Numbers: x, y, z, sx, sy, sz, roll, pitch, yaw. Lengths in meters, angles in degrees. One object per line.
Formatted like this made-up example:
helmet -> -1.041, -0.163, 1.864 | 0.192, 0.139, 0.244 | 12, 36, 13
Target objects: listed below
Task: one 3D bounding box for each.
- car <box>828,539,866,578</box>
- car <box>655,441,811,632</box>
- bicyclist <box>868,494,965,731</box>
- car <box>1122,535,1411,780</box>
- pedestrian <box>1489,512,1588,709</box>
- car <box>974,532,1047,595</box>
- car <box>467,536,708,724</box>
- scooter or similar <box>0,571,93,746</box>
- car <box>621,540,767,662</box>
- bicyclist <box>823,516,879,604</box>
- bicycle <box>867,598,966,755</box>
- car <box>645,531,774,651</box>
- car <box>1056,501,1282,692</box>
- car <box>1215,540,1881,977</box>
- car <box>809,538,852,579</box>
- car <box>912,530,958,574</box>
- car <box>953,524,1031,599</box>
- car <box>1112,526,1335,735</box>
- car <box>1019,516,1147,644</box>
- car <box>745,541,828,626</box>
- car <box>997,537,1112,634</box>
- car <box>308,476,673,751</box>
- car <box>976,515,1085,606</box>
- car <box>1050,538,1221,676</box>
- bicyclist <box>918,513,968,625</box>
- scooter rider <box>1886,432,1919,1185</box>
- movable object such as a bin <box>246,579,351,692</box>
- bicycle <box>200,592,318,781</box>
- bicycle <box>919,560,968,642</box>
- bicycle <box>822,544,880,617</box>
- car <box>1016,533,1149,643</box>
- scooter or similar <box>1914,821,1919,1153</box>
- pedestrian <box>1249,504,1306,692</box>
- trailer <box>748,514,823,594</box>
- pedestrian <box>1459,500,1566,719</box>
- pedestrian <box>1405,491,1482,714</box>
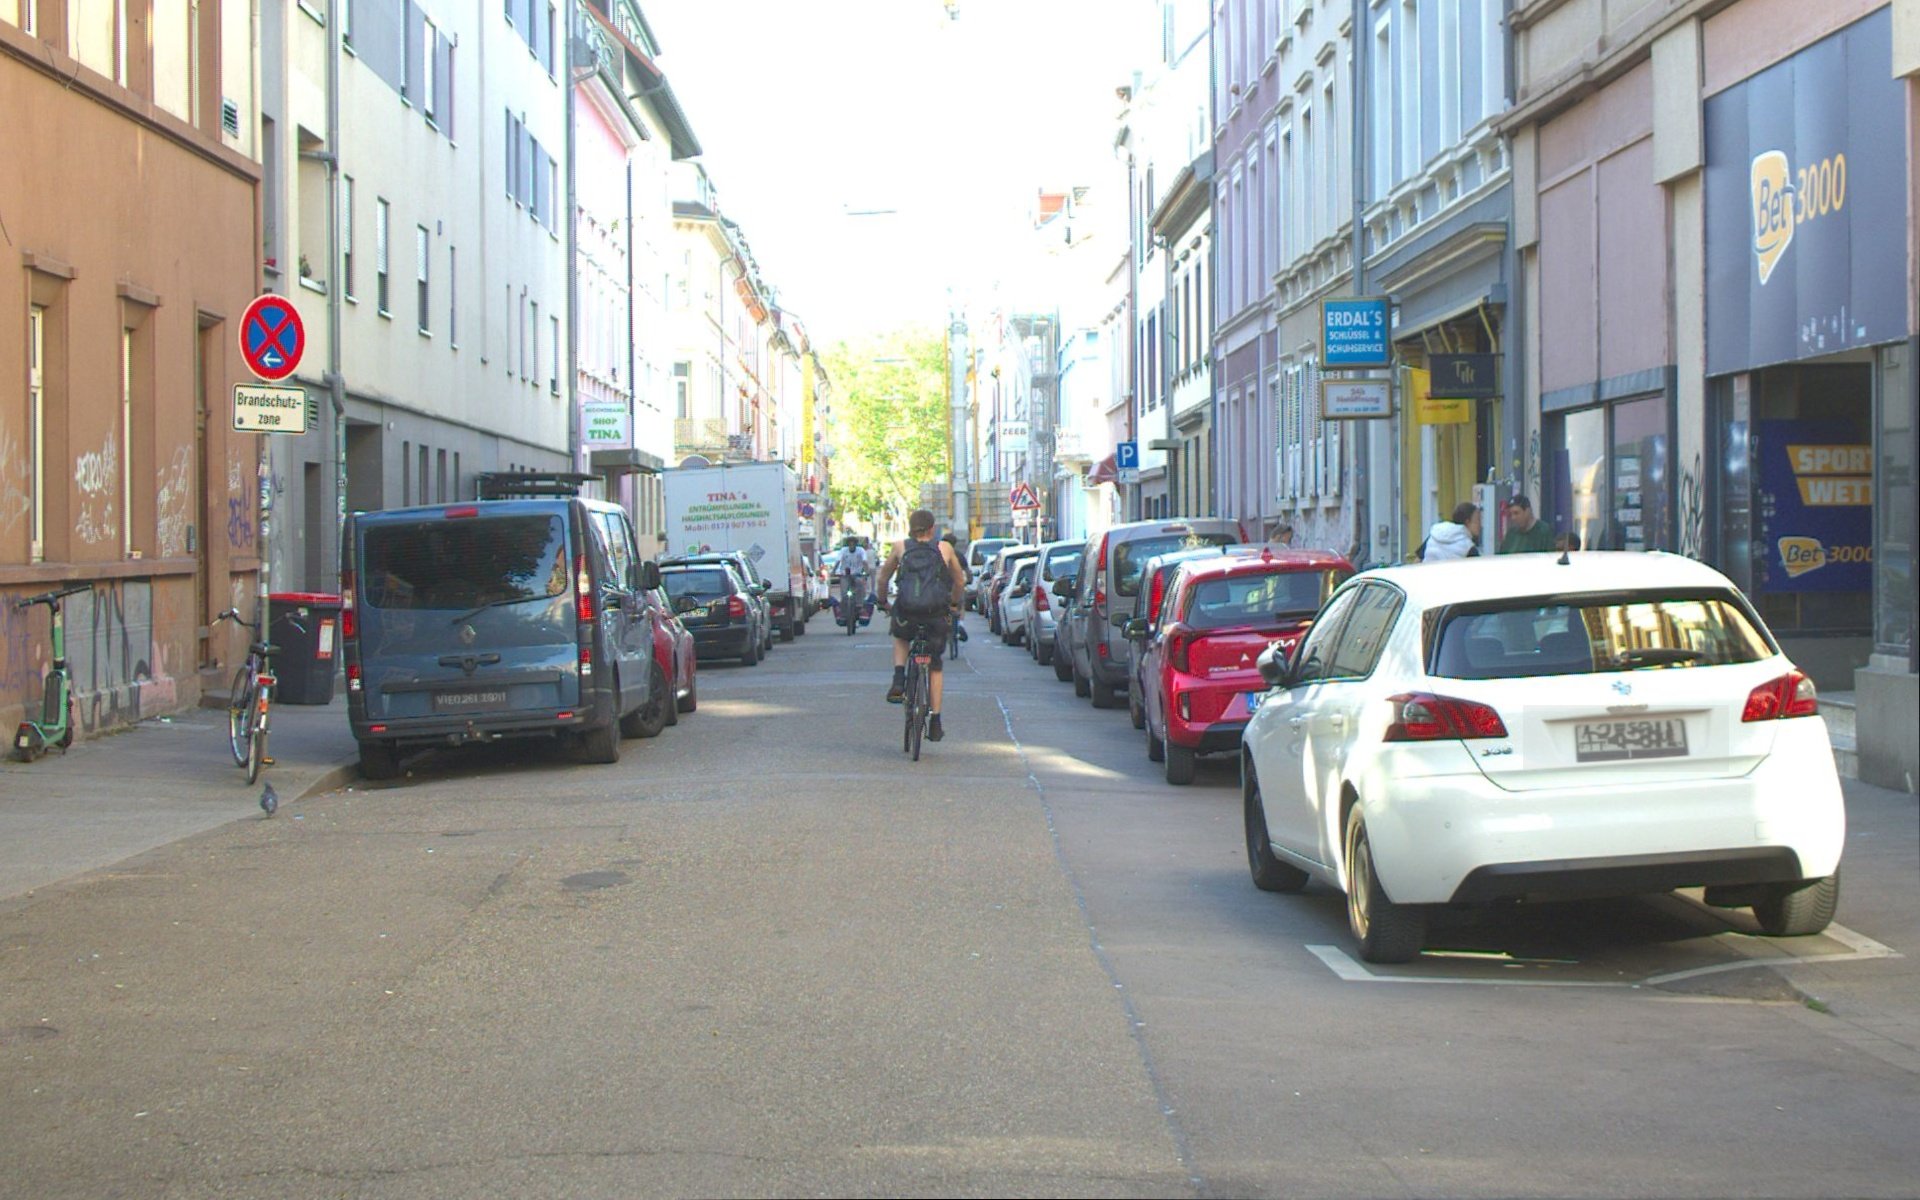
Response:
car -> -5.412, -1.974, 164.880 | 1.750, 1.815, 3.796 | -1, 0, -1
car -> -4.154, -1.153, 64.150 | 2.343, 3.280, 7.154 | -2, 1, 0
bicyclist -> -0.320, 0.086, 24.847 | 0.667, 1.671, 1.097 | 1, 0, -1
car -> 2.061, 0.358, 23.925 | 1.606, 1.567, 3.554 | 1, 0, -1
pedestrian -> 4.532, 0.082, 26.963 | 0.587, 1.524, 0.659 | 1, 0, -6
car -> 1.237, -0.900, 85.351 | 1.750, 1.481, 3.800 | -1, 0, 0
car -> -3.341, 0.245, 31.465 | 1.750, 1.517, 3.869 | -3, 0, -1
scooter or similar -> -6.531, 0.398, 24.568 | 0.347, 1.212, 1.392 | 1, 0, -1
car -> -3.645, -0.026, 47.698 | 1.716, 1.473, 4.499 | -3, 2, -1
bicyclist -> -2.079, -0.767, 65.603 | 0.950, 1.622, 0.953 | -2, 1, 1
bicycle -> -0.326, 0.533, 24.878 | 0.677, 1.071, 1.942 | 1, 0, -1
car -> -3.842, -0.180, 53.300 | 1.716, 1.644, 4.246 | -3, 2, -1
car -> 2.032, -0.051, 34.576 | 1.899, 1.787, 4.315 | 1, 0, -1
car -> 2.208, 0.538, 14.048 | 1.786, 1.511, 4.137 | 1, 0, -3
car -> -5.526, -1.765, 147.083 | 1.750, 1.678, 3.796 | -1, 0, -1
car -> -0.913, -1.711, 124.038 | 1.611, 1.555, 3.610 | 1, 0, -1
car -> 0.818, -1.007, 90.409 | 1.750, 1.872, 3.973 | -1, 0, -3
car -> 2.143, 0.224, 28.688 | 1.570, 1.551, 3.314 | -3, 0, 1
car -> 1.679, -0.289, 47.943 | 1.556, 1.706, 3.559 | 1, 0, -1
car -> -3.946, -0.388, 78.686 | 1.752, 1.810, 4.078 | -2, 0, -2
car -> 1.587, -0.259, 58.842 | 1.686, 1.538, 4.046 | -2, 1, -1
car -> -3.447, 0.032, 26.282 | 2.020, 1.873, 5.297 | 1, 1, 0
car -> 1.333, -0.788, 66.472 | 1.918, 1.700, 4.367 | 0, 1, -1
car -> 1.977, 0.067, 39.667 | 1.552, 1.506, 3.612 | 1, 0, -4
bicyclist -> -0.238, -0.439, 48.770 | 0.671, 1.562, 0.716 | 1, 0, -2
scooter rider -> 2.604, 0.494, 8.227 | 0.564, 1.772, 0.610 | 1, 0, 34
movable object such as a bin -> -6.384, 0.336, 33.202 | 0.759, 1.063, 0.651 | 1, 0, 19
bicycle -> -4.775, 0.561, 23.340 | 0.550, 1.212, 1.989 | 0, 0, -18
bicycle -> -0.245, 0.005, 48.796 | 0.648, 1.125, 2.136 | 1, 0, -1
bicycle -> -2.073, -0.382, 65.579 | 0.977, 1.310, 2.555 | -2, 1, 0
car -> 1.829, -0.198, 52.754 | 1.696, 1.538, 4.629 | -2, 1, -1
scooter or similar -> 2.602, 0.974, 8.178 | 0.393, 0.825, 0.926 | 1, 0, -1
pedestrian -> 2.914, -0.019, 31.542 | 0.441, 1.698, 0.655 | 1, 0, 0
trailer -> -4.745, -1.236, 93.673 | 1.882, 2.085, 3.737 | -1, 0, -1
pedestrian -> 4.446, 0.073, 27.674 | 0.628, 1.734, 0.659 | 0, 0, -14
pedestrian -> 3.801, 0.018, 27.062 | 0.561, 1.734, 0.427 | 1, 0, 5
